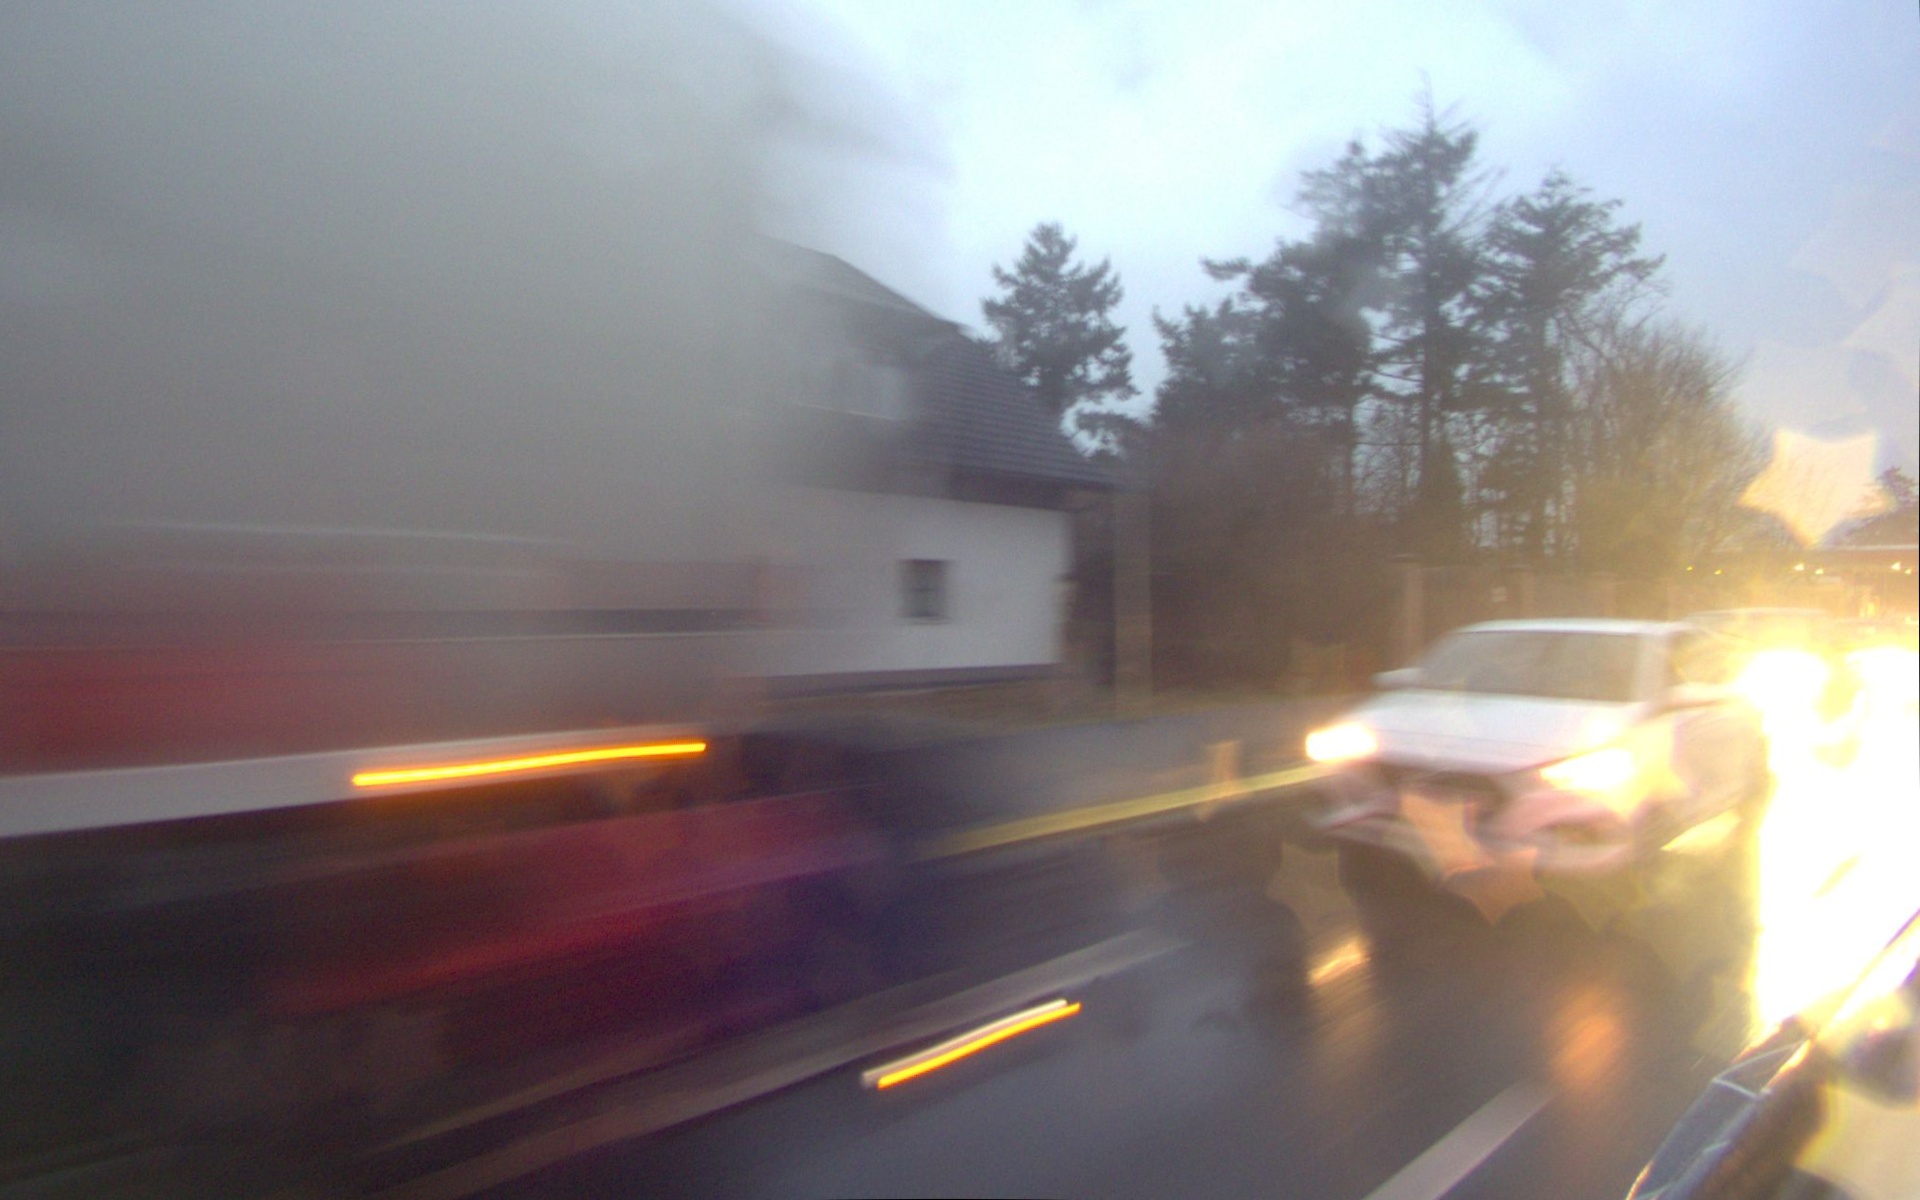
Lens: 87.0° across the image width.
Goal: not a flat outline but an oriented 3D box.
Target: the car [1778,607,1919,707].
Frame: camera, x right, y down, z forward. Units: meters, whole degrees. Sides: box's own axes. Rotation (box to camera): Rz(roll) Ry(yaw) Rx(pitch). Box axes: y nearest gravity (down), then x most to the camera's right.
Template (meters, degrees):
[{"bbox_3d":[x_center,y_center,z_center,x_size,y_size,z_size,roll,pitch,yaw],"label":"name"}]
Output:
[{"bbox_3d":[15.591,0.891,17.353,4.196,1.490,1.705,1,-1,-40],"label":"car"}]

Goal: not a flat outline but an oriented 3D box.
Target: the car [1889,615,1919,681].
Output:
[{"bbox_3d":[21.827,1.036,22.179,4.196,1.353,1.656,1,0,-40],"label":"car"}]

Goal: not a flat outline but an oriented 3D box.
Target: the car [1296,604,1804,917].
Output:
[{"bbox_3d":[4.163,0.767,6.808,4.304,1.457,1.665,0,0,-41],"label":"car"}]

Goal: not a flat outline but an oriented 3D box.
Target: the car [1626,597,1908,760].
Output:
[{"bbox_3d":[9.679,0.778,12.004,4.424,1.588,1.839,1,-1,-41],"label":"car"}]

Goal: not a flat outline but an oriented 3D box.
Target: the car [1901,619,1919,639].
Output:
[{"bbox_3d":[71.221,2.170,75.149,4.095,1.414,1.575,1,1,-41],"label":"car"}]
